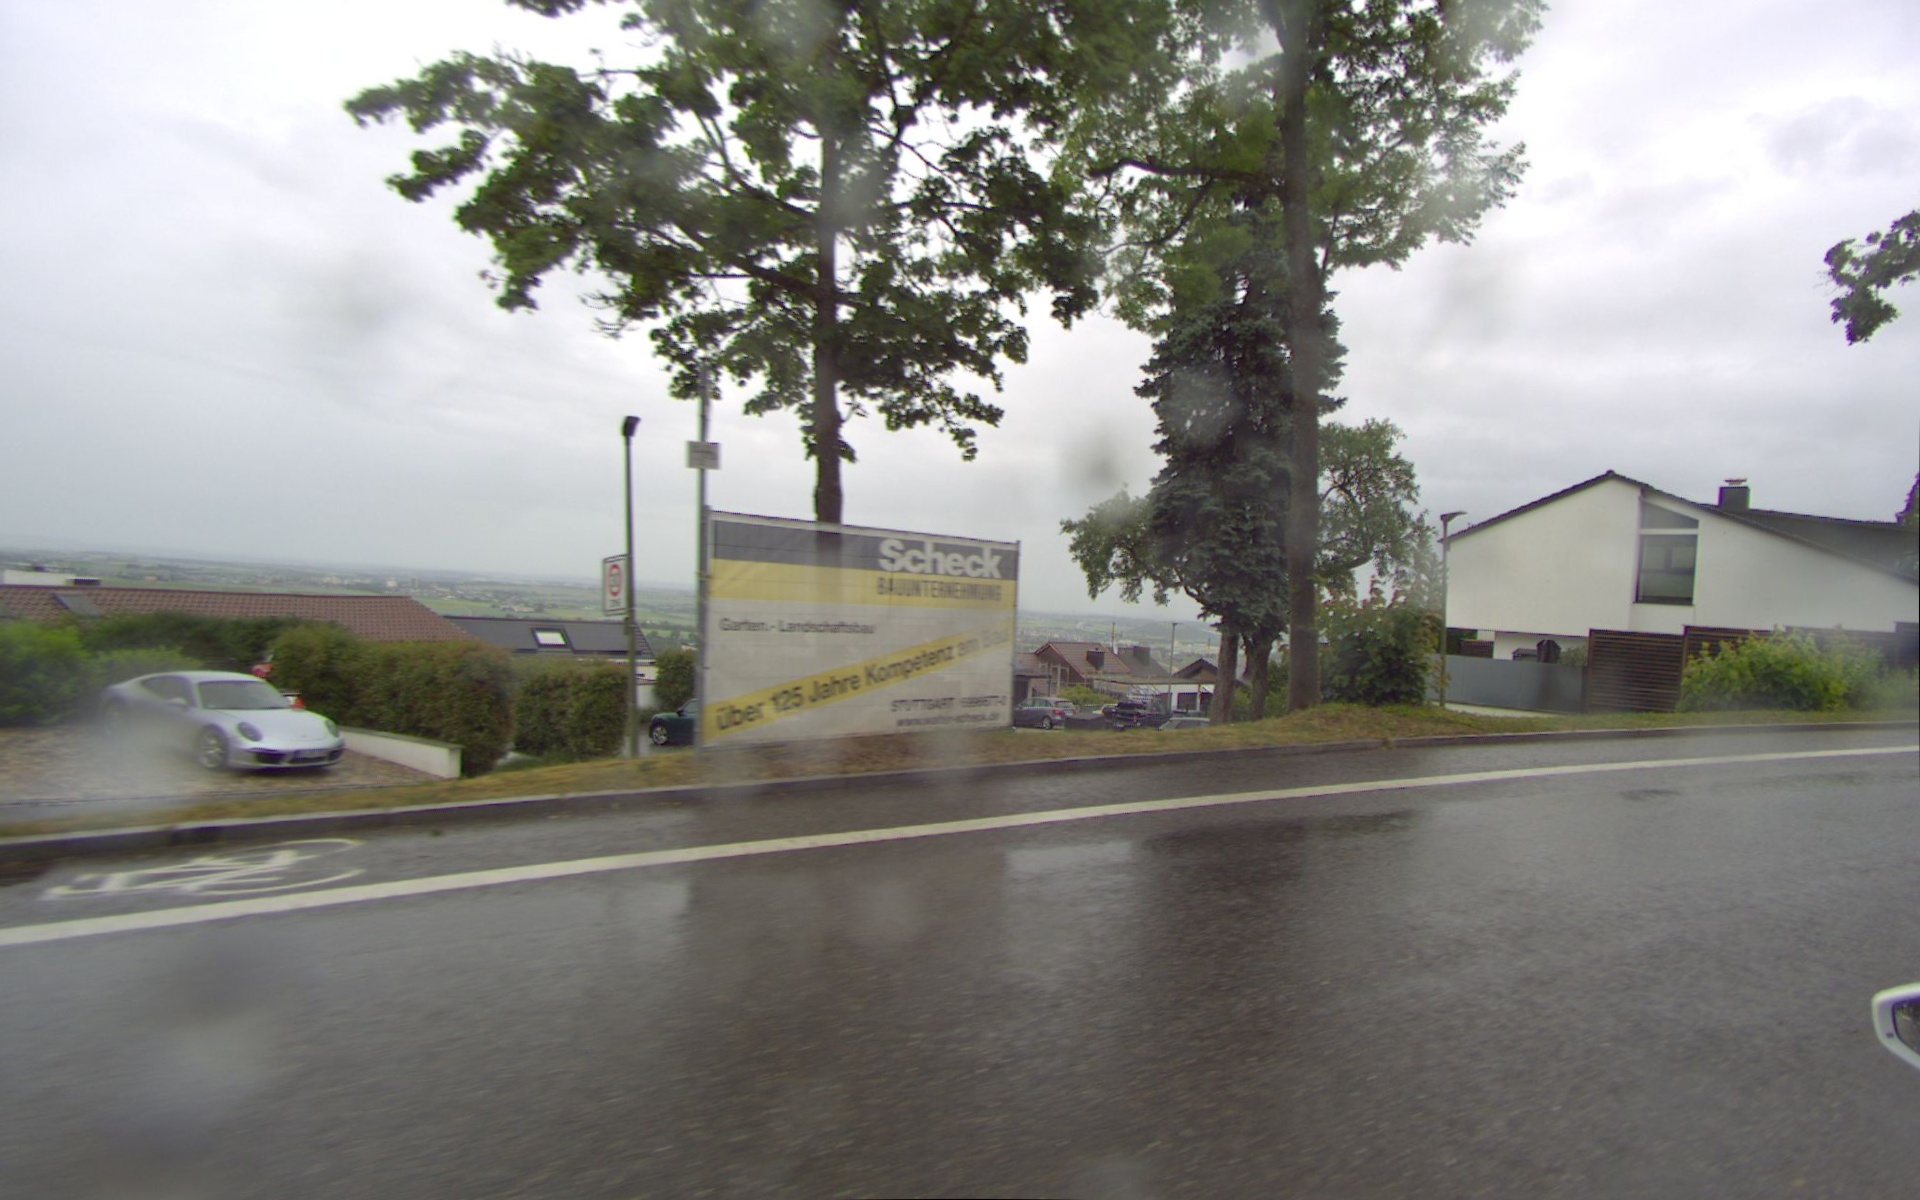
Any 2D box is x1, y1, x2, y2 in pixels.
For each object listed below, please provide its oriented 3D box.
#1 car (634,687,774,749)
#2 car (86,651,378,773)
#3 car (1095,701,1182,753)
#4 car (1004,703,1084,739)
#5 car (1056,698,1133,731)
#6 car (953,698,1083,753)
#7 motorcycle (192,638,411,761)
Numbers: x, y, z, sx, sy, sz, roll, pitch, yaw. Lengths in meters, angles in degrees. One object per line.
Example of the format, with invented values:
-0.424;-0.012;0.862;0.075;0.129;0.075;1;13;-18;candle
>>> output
-7.688;3.473;30.109;3.930;1.435;1.880;0;0;32;car
-12.051;1.808;16.658;4.164;1.268;1.788;7;-3;20;car
7.862;5.546;44.040;1.970;2.039;3.983;-1;-6;40;car
4.229;6.125;51.142;1.787;1.659;3.959;1;-6;-38;car
7.175;6.129;53.844;1.787;1.659;3.959;1;-6;-38;car
1.769;3.638;29.093;2.124;1.367;4.276;0;-7;28;car
-12.020;1.772;18.319;3.803;1.280;1.219;13;-1;21;motorcycle
